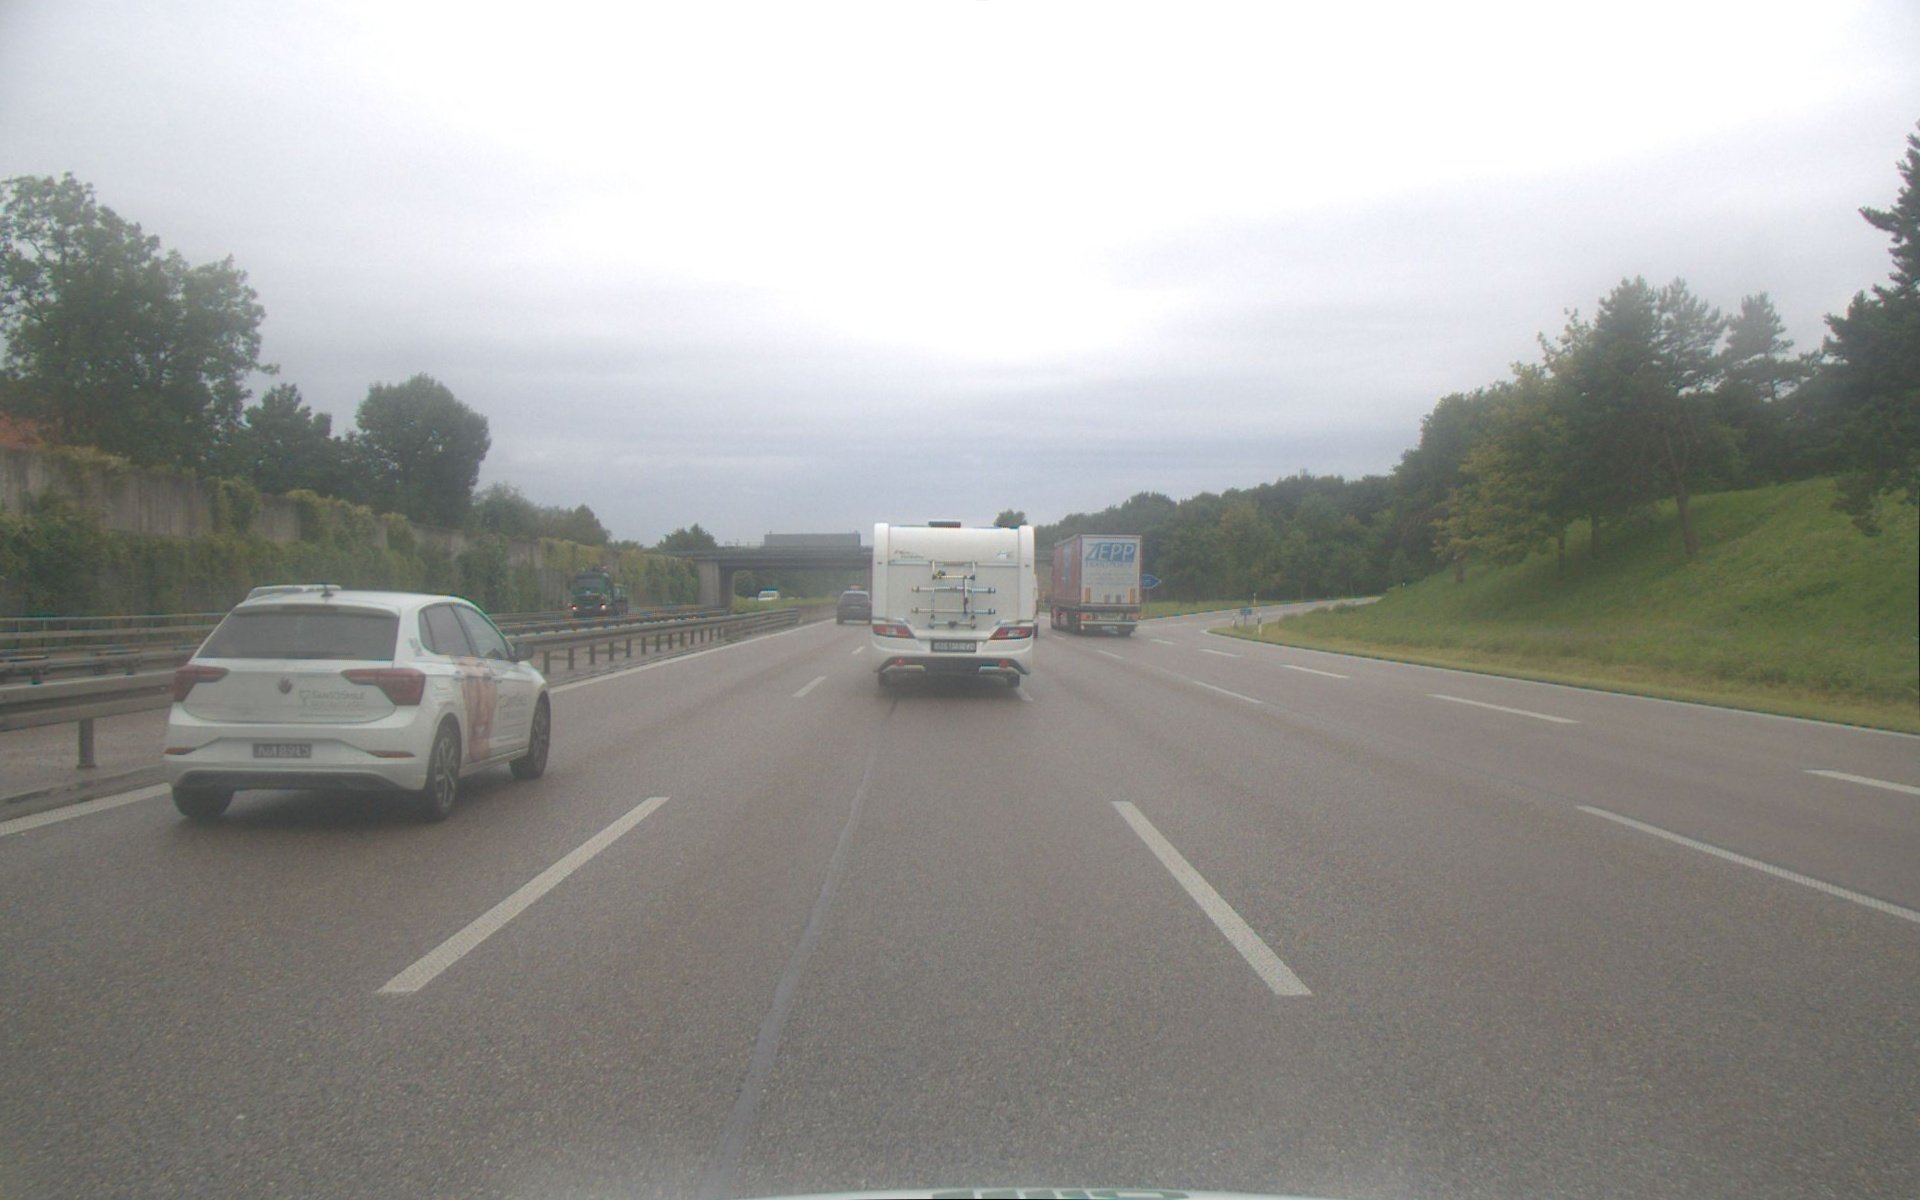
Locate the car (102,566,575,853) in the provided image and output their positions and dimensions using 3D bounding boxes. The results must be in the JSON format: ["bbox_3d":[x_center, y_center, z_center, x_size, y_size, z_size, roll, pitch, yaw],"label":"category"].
[{"bbox_3d":[-4.135,0.618,11.898,1.717,1.646,4.662,0,0,-1],"label":"car"}]

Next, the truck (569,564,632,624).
[{"bbox_3d":[-24.123,-0.374,111.472,2.637,3.843,8.333,1,0,-2],"label":"truck"}]

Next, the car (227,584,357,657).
[{"bbox_3d":[-20.043,0.581,49.878,1.953,2.049,4.955,1,0,-2],"label":"car"}]

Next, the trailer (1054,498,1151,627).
[{"bbox_3d":[5.964,-1.465,71.023,3.036,5.008,11.789,1,0,0],"label":"trailer"}]

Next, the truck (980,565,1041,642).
[{"bbox_3d":[1.904,0.141,63.929,2.012,2.818,5.547,1,0,-2],"label":"truck"}]

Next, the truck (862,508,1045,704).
[{"bbox_3d":[-0.156,0.098,26.576,2.607,2.790,5.076,1,0,-2],"label":"truck"}]

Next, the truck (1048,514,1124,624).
[{"bbox_3d":[5.923,-1.407,78.356,2.986,4.924,5.849,1,0,-1],"label":"truck"}]
